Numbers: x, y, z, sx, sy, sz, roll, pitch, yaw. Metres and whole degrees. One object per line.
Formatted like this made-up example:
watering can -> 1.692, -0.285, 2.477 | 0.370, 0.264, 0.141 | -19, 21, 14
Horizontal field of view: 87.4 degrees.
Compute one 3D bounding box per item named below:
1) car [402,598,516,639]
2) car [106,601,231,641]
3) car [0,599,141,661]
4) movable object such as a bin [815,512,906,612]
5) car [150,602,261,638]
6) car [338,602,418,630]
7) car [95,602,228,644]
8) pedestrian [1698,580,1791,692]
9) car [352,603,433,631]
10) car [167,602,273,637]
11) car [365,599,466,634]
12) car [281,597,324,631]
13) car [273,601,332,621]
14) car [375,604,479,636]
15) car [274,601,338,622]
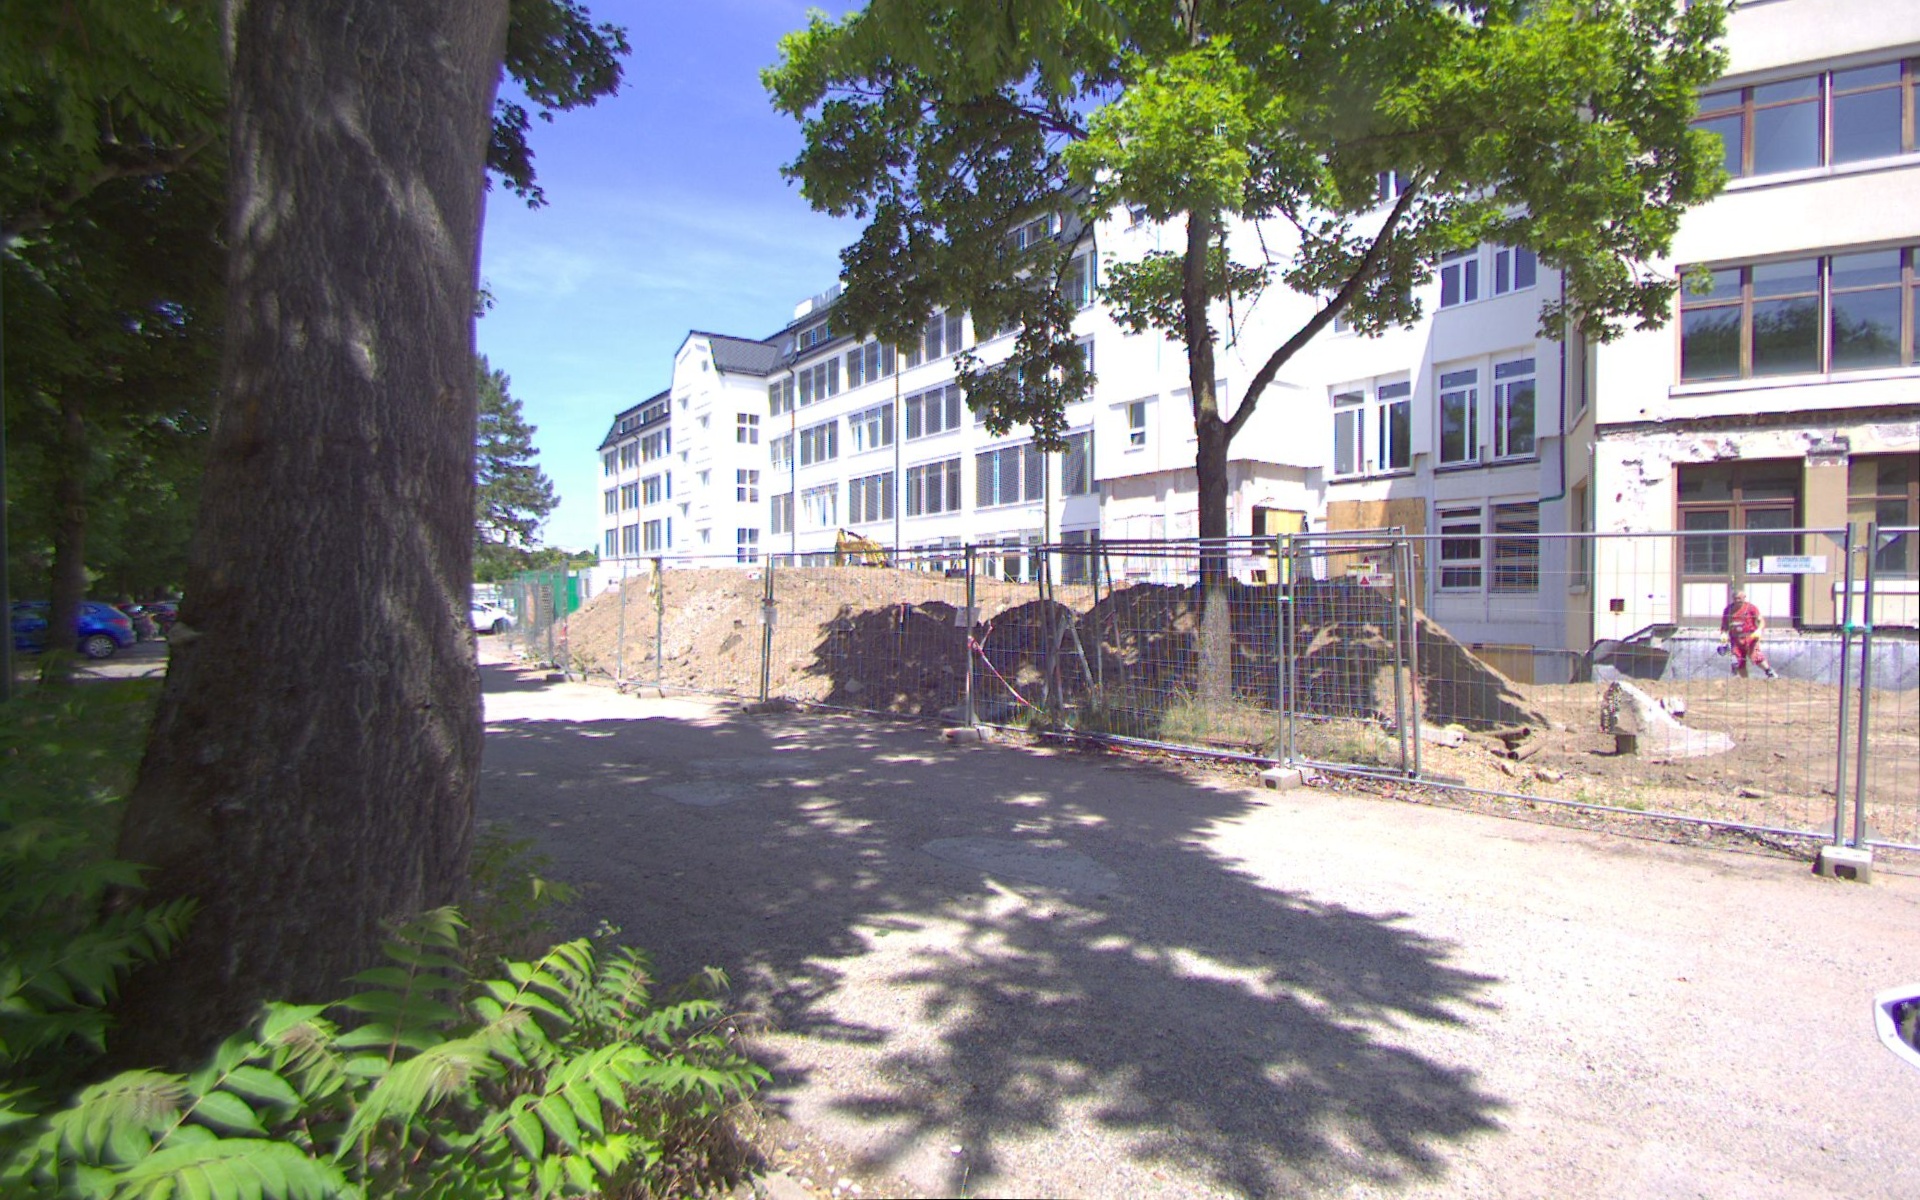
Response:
car -> -19.213, 0.710, 38.588 | 3.698, 1.514, 1.436 | 1, -1, -43
car -> -29.593, 0.787, 37.617 | 3.599, 1.433, 1.372 | 1, -1, -41
car -> -22.372, 0.710, 24.597 | 3.528, 1.440, 1.563 | 1, -1, -43
movable object such as a bin -> -4.768, -1.665, 47.428 | 1.978, 4.430, 5.674 | 1, 0, -32
car -> -30.995, 0.814, 41.310 | 3.599, 1.433, 1.372 | 1, -1, -41
car -> -32.987, 0.916, 56.959 | 3.698, 1.514, 1.436 | 1, -1, -43
car -> -28.068, 0.793, 35.377 | 3.599, 1.433, 1.437 | 1, -1, -41
pedestrian -> 13.552, 0.604, 17.383 | 0.966, 1.871, 0.917 | 0, 0, 14
car -> -31.459, 0.934, 55.774 | 3.698, 1.514, 1.436 | 1, -1, -43
car -> -32.021, 0.829, 43.514 | 3.599, 1.433, 1.372 | 1, -1, -41
car -> -24.189, 0.734, 44.694 | 3.698, 1.514, 1.436 | 1, -1, -43
car -> -34.103, 0.724, 52.193 | 1.791, 1.677, 3.889 | 1, -1, -33
car -> -52.386, 0.877, 80.061 | 3.698, 1.514, 1.436 | 1, -1, -43
car -> -22.579, 0.835, 42.631 | 3.698, 1.295, 1.436 | 1, -1, -43
car -> -47.590, 0.843, 73.150 | 3.698, 1.514, 1.436 | 1, -1, -43
